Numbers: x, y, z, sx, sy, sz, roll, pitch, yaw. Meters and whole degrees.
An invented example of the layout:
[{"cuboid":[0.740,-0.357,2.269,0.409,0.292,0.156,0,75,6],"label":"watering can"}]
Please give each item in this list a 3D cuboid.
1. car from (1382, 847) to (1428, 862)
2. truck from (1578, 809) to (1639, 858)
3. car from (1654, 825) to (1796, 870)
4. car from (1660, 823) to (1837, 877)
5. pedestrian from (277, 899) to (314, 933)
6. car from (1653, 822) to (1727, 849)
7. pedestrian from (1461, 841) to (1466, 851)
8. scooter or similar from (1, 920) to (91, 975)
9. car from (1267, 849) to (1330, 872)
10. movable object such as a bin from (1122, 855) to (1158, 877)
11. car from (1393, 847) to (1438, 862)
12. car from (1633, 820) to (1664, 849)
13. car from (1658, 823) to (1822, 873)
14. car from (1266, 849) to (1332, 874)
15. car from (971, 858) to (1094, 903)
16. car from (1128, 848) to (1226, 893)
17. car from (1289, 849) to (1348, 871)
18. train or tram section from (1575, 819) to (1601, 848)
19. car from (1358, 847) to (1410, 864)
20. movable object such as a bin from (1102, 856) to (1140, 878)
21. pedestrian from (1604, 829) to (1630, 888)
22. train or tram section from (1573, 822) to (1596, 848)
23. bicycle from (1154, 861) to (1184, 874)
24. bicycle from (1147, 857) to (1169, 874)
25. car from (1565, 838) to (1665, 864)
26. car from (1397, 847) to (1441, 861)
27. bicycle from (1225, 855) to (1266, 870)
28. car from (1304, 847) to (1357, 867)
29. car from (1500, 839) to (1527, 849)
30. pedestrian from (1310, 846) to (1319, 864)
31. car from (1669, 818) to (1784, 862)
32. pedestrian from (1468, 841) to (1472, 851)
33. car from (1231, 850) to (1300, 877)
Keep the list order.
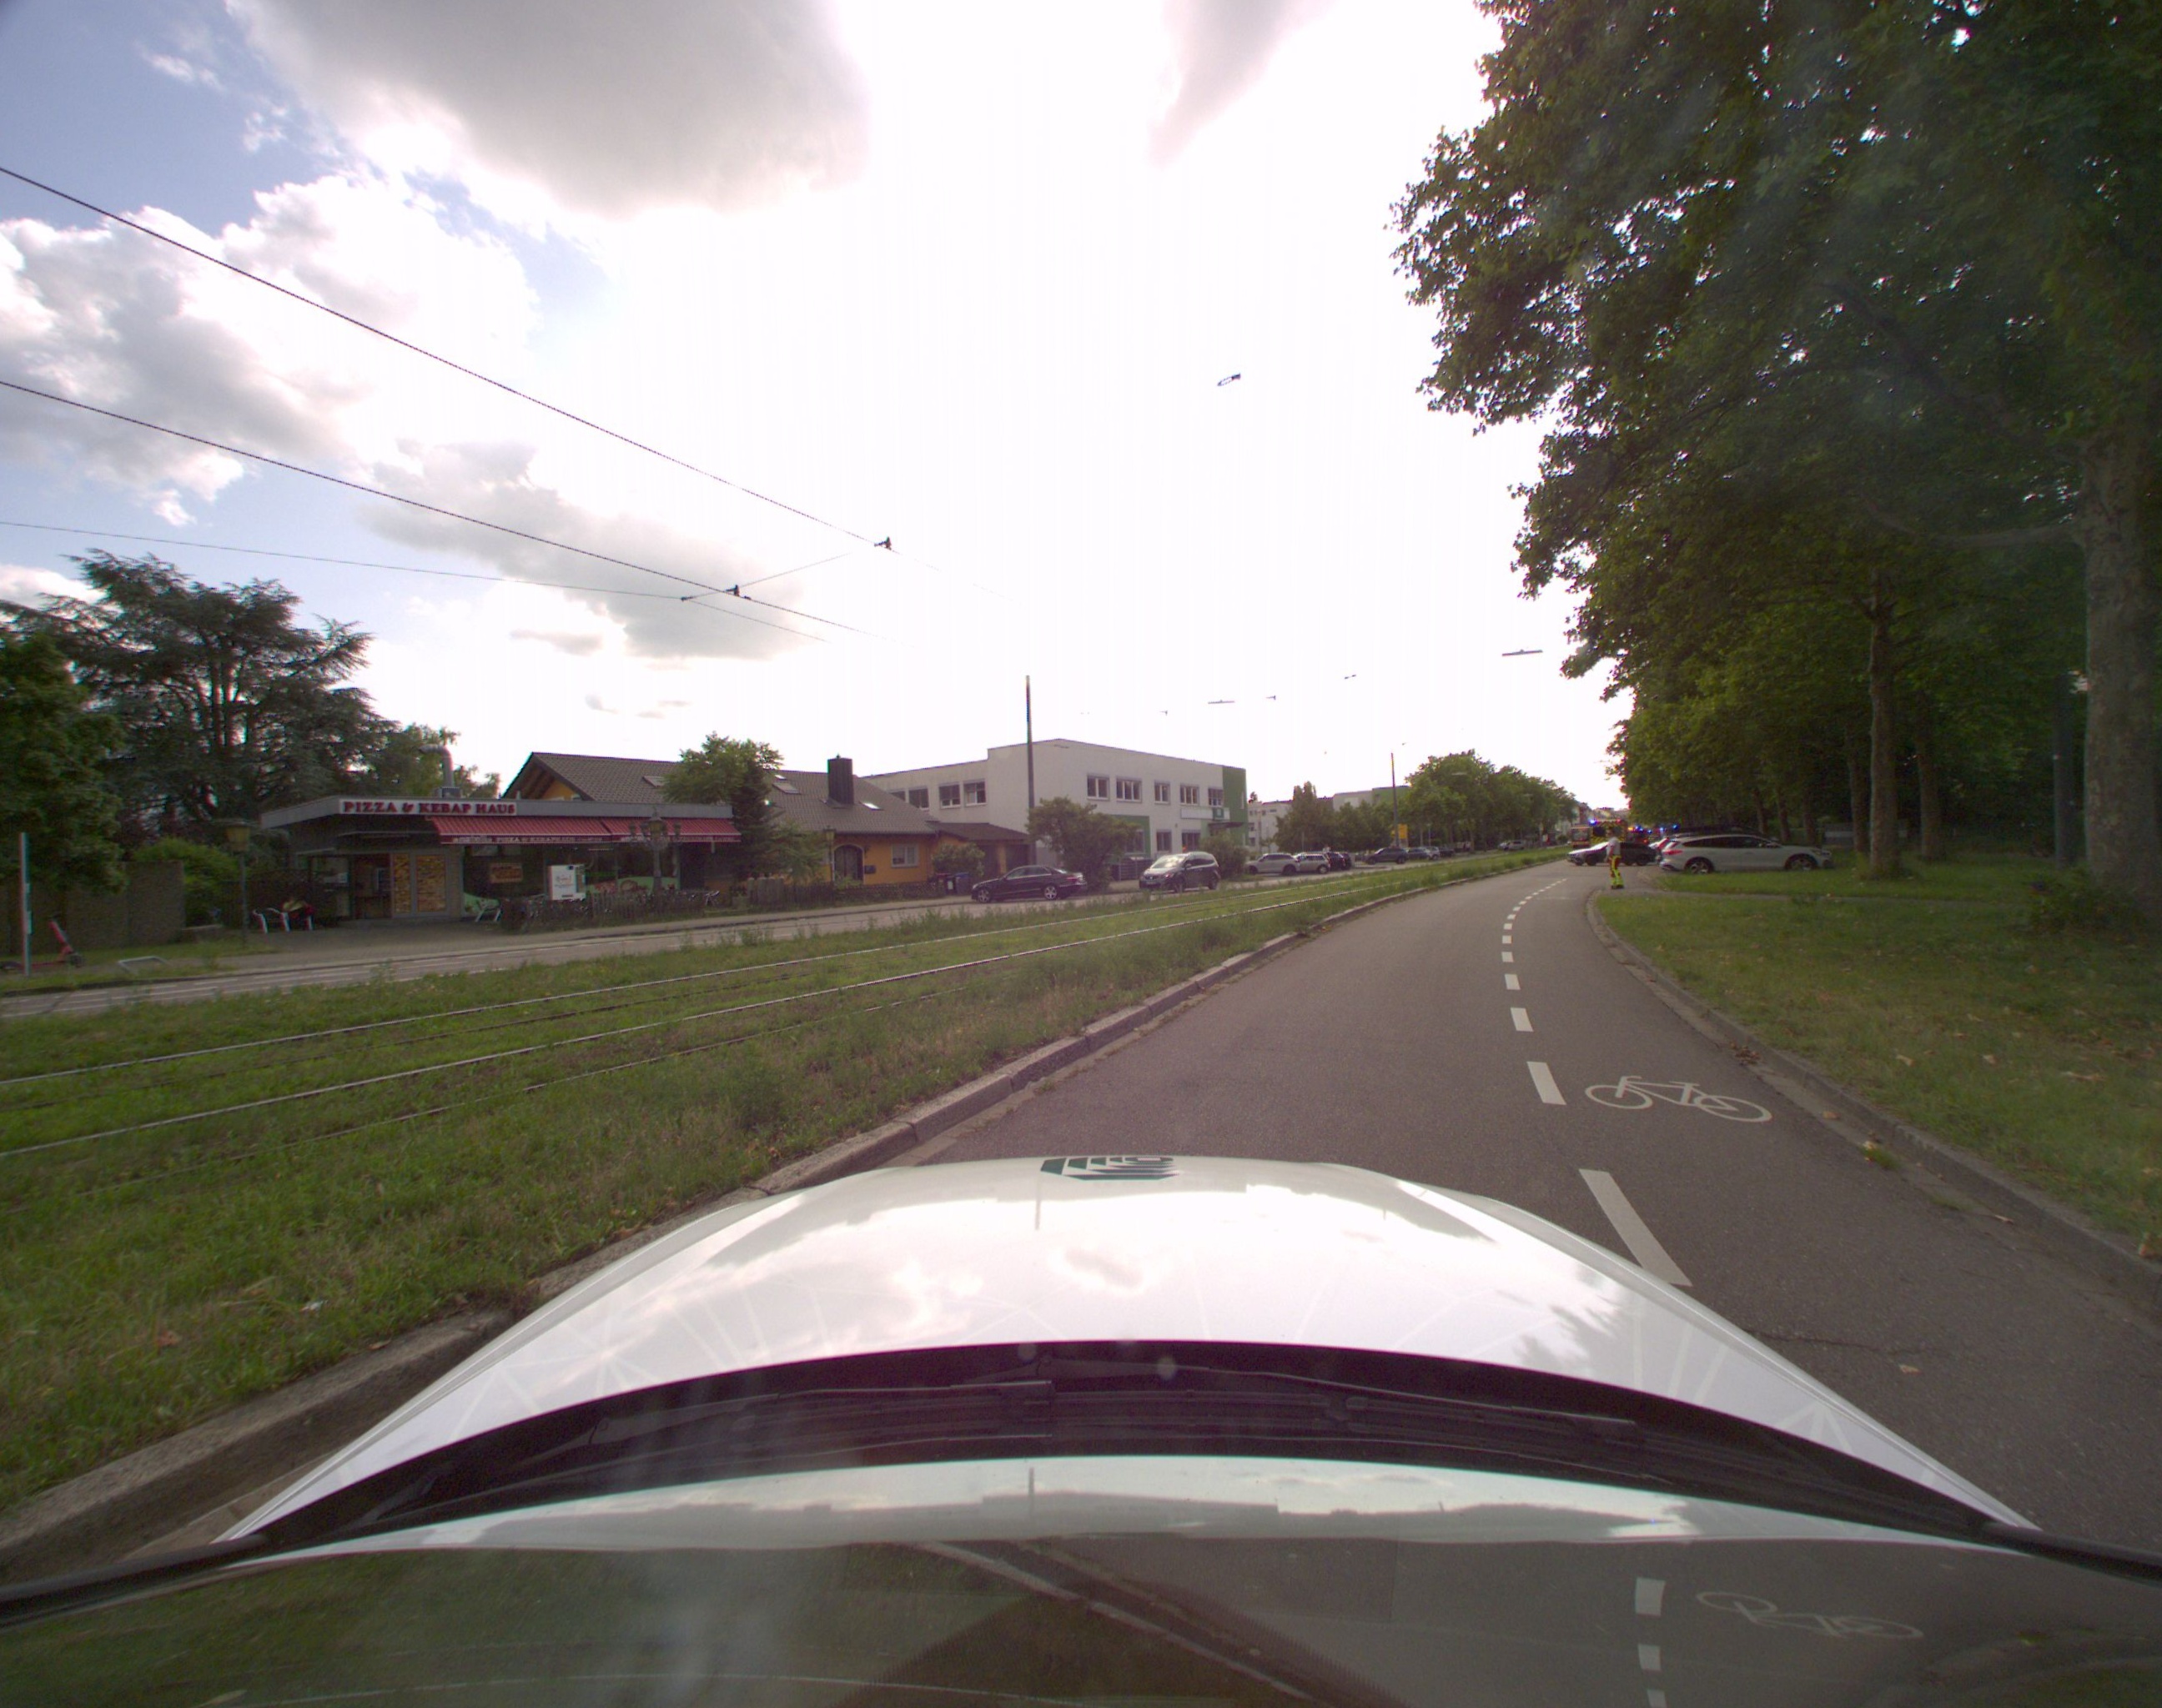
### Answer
[{"cuboid":[34.121,0.078,85.853,4.271,1.364,1.909,-2,0,13],"label":"car"},{"cuboid":[38.942,-1.477,60.023,3.152,3.317,7.572,-3,-1,37],"label":"truck"},{"cuboid":[27.163,-0.234,34.577,4.484,1.644,2.013,-3,-2,34],"label":"car"},{"cuboid":[22.791,-0.088,28.095,4.484,1.644,2.013,-3,-2,34],"label":"car"},{"cuboid":[-23.523,1.844,24.392,0.767,0.929,0.732,0,0,41],"label":"pedestrian"},{"cuboid":[78.306,-2.374,104.860,7.363,3.330,2.994,0,0,31],"label":"car"},{"cuboid":[63.074,-1.287,134.159,0.614,1.729,0.650,0,0,35],"label":"pedestrian"},{"cuboid":[-22.049,1.977,17.370,1.110,1.059,0.397,0,0,-39],"label":"scooter or similar"},{"cuboid":[16.125,0.478,60.491,4.277,1.629,1.906,-2,0,7],"label":"car"},{"cuboid":[3.860,0.796,53.255,1.359,1.326,2.145,-3,-1,39],"label":"movable object such as a bin"},{"cuboid":[36.257,0.048,88.434,4.271,1.364,1.909,-2,0,13],"label":"car"},{"cuboid":[67.131,-2.264,96.439,2.937,3.330,7.507,0,0,34],"label":"car"},{"cuboid":[24.258,-0.173,30.243,4.484,1.644,2.013,-3,-2,34],"label":"car"},{"cuboid":[15.448,0.515,57.946,4.277,1.629,1.906,-2,0,7],"label":"car"},{"cuboid":[-1.960,1.081,33.540,4.530,1.580,2.008,-3,-1,15],"label":"car"},{"cuboid":[4.245,0.693,35.391,1.974,1.722,4.771,-3,0,38],"label":"car"},{"cuboid":[18.256,0.470,62.802,4.133,1.504,1.865,-2,0,8],"label":"car"},{"cuboid":[67.845,-2.725,109.054,2.464,3.596,7.468,-3,0,30],"label":"train or tram section"},{"cuboid":[28.627,0.156,77.054,4.272,1.364,1.908,-2,0,12],"label":"car"},{"cuboid":[2.520,0.814,51.505,1.359,1.326,2.130,-3,-1,39],"label":"movable object such as a bin"},{"cuboid":[15.634,0.138,23.753,0.579,1.684,0.497,-2,-1,33],"label":"pedestrian"},{"cuboid":[75.325,-2.842,121.913,2.464,3.596,7.468,-3,0,30],"label":"train or tram section"},{"cuboid":[6.669,1.027,61.618,2.131,0.970,0.735,-3,-1,40],"label":"bicycle"},{"cuboid":[5.705,0.872,60.407,0.709,1.166,1.602,-2,-1,-38],"label":"bicycle"},{"cuboid":[31.515,-0.171,48.187,4.559,1.393,1.848,-2,0,13],"label":"car"},{"cuboid":[37.594,0.027,90.682,4.271,1.364,1.909,-2,0,13],"label":"car"},{"cuboid":[13.682,0.724,67.720,3.103,1.166,1.149,-3,-1,31],"label":"bicycle"},{"cuboid":[20.932,0.232,68.407,4.127,1.504,1.867,-2,0,13],"label":"car"},{"cuboid":[79.809,-1.777,150.220,3.969,1.838,1.824,0,0,4],"label":"car"},{"cuboid":[21.902,0.084,76.370,0.590,1.674,0.544,-3,-1,27],"label":"pedestrian"},{"cuboid":[33.340,-0.688,42.241,4.497,2.014,2.013,-3,-1,36],"label":"car"},{"cuboid":[64.262,-1.297,134.542,0.614,1.729,0.650,0,0,35],"label":"pedestrian"},{"cuboid":[12.515,0.627,55.562,4.284,1.629,1.903,-2,0,2],"label":"car"}]
